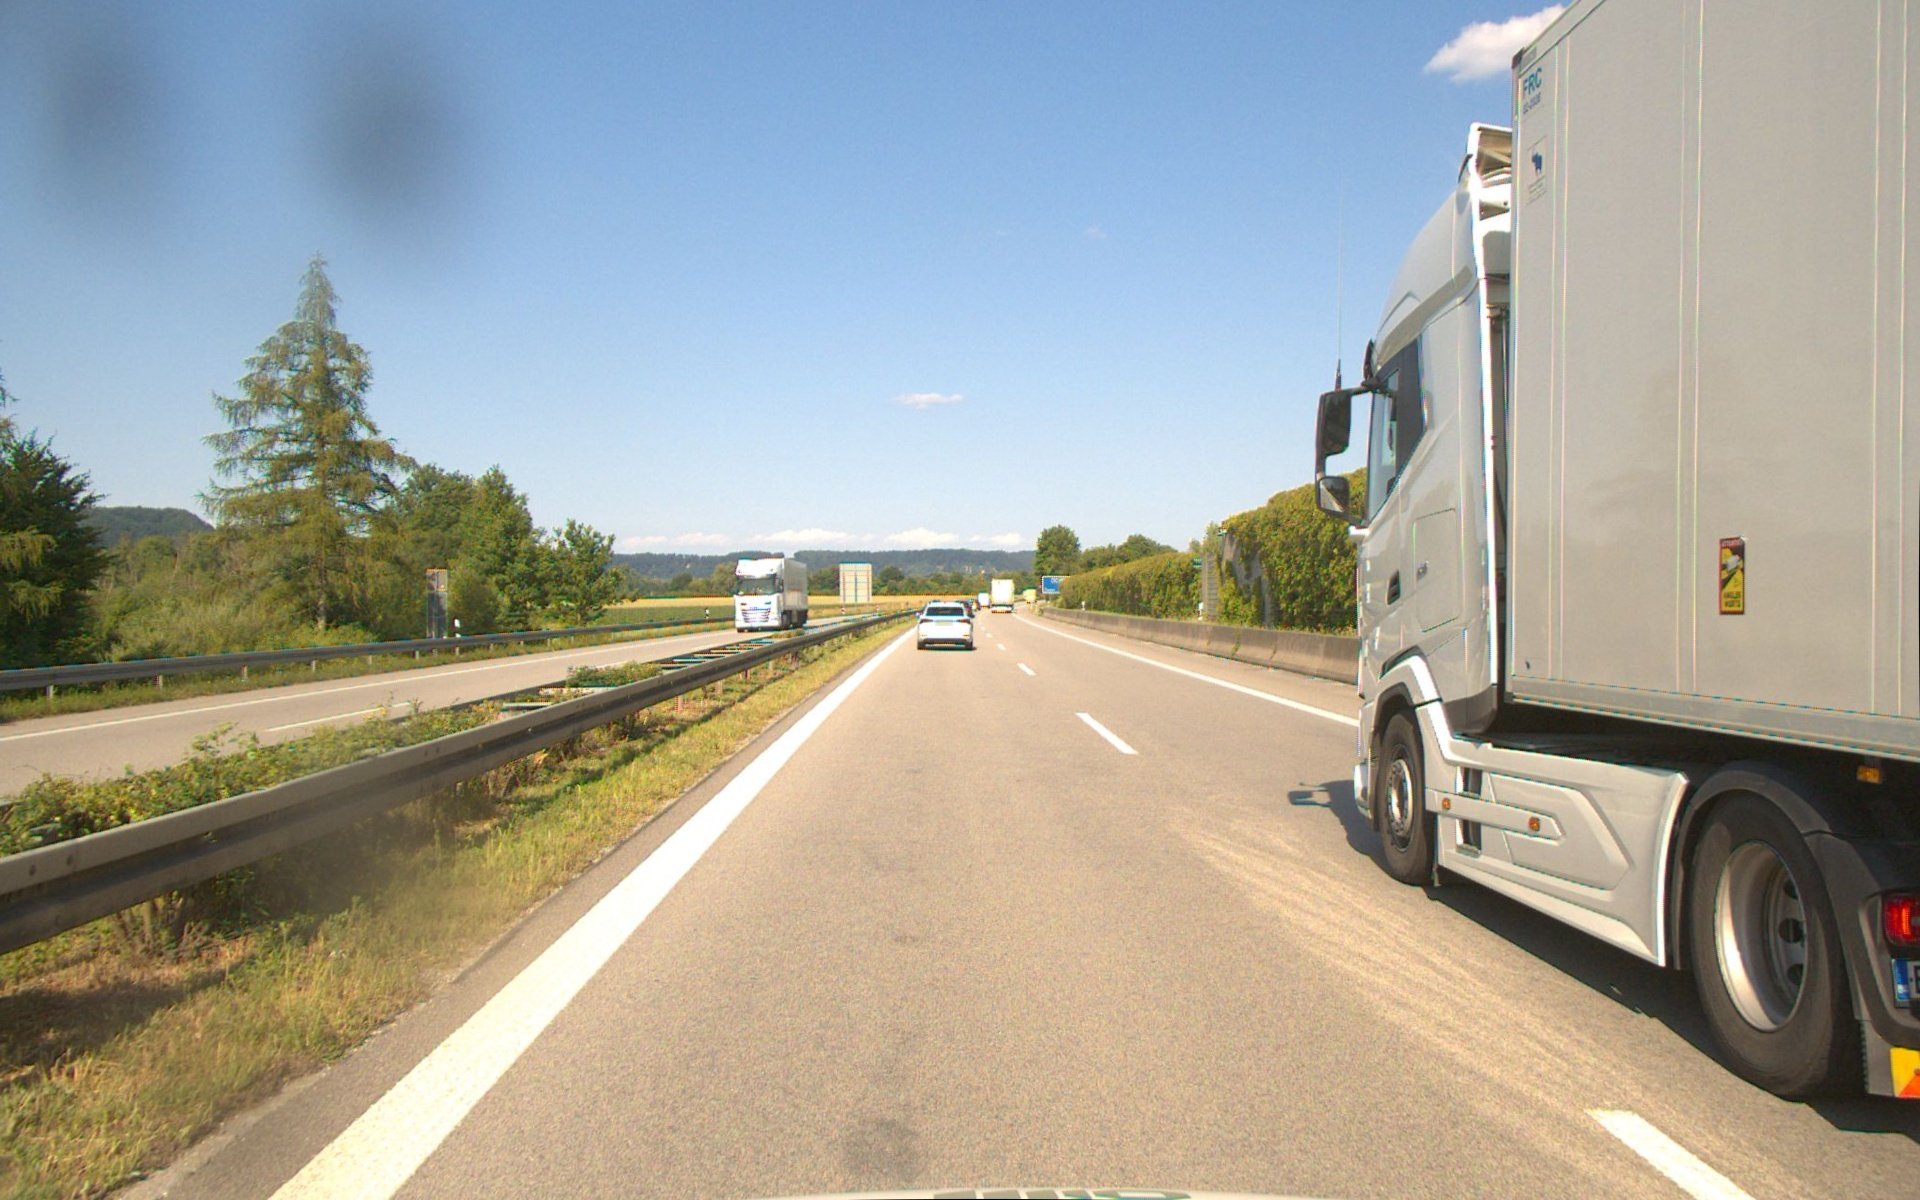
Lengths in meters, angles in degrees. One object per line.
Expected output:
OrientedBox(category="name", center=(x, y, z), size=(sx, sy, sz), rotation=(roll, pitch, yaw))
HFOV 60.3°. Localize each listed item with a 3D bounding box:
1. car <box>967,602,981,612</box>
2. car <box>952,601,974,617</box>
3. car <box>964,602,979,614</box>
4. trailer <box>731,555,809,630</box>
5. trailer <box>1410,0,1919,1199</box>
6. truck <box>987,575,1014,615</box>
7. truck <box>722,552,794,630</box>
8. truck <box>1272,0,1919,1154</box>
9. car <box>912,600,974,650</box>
OrientedBox(category="car", center=(2.015, 1.006, 237.544), size=(1.734, 1.446, 4.366), rotation=(1, 0, 3))
OrientedBox(category="car", center=(0.297, 0.819, 148.644), size=(1.734, 1.446, 4.497), rotation=(1, 0, 3))
OrientedBox(category="car", center=(1.552, 1.077, 219.984), size=(1.734, 1.446, 4.366), rotation=(1, 0, 3))
OrientedBox(category="trailer", center=(-11.374, -0.398, 100.265), size=(3.086, 4.197, 13.440), rotation=(-1, 0, 0))
OrientedBox(category="trailer", center=(3.851, -0.519, 1.345), size=(2.761, 4.036, 14.155), rotation=(-1, 0, -1))
OrientedBox(category="truck", center=(4.890, -0.593, 198.914), size=(3.086, 4.693, 8.908), rotation=(0, 0, 2))
OrientedBox(category="truck", center=(-11.415, -0.450, 93.975), size=(3.092, 4.173, 7.734), rotation=(-1, 0, 0))
OrientedBox(category="truck", center=(3.677, -0.576, 7.920), size=(2.783, 4.036, 7.041), rotation=(-1, 0, -2))
OrientedBox(category="car", center=(-0.599, 0.763, 52.868), size=(1.803, 1.446, 5.252), rotation=(2, 0, -2))
